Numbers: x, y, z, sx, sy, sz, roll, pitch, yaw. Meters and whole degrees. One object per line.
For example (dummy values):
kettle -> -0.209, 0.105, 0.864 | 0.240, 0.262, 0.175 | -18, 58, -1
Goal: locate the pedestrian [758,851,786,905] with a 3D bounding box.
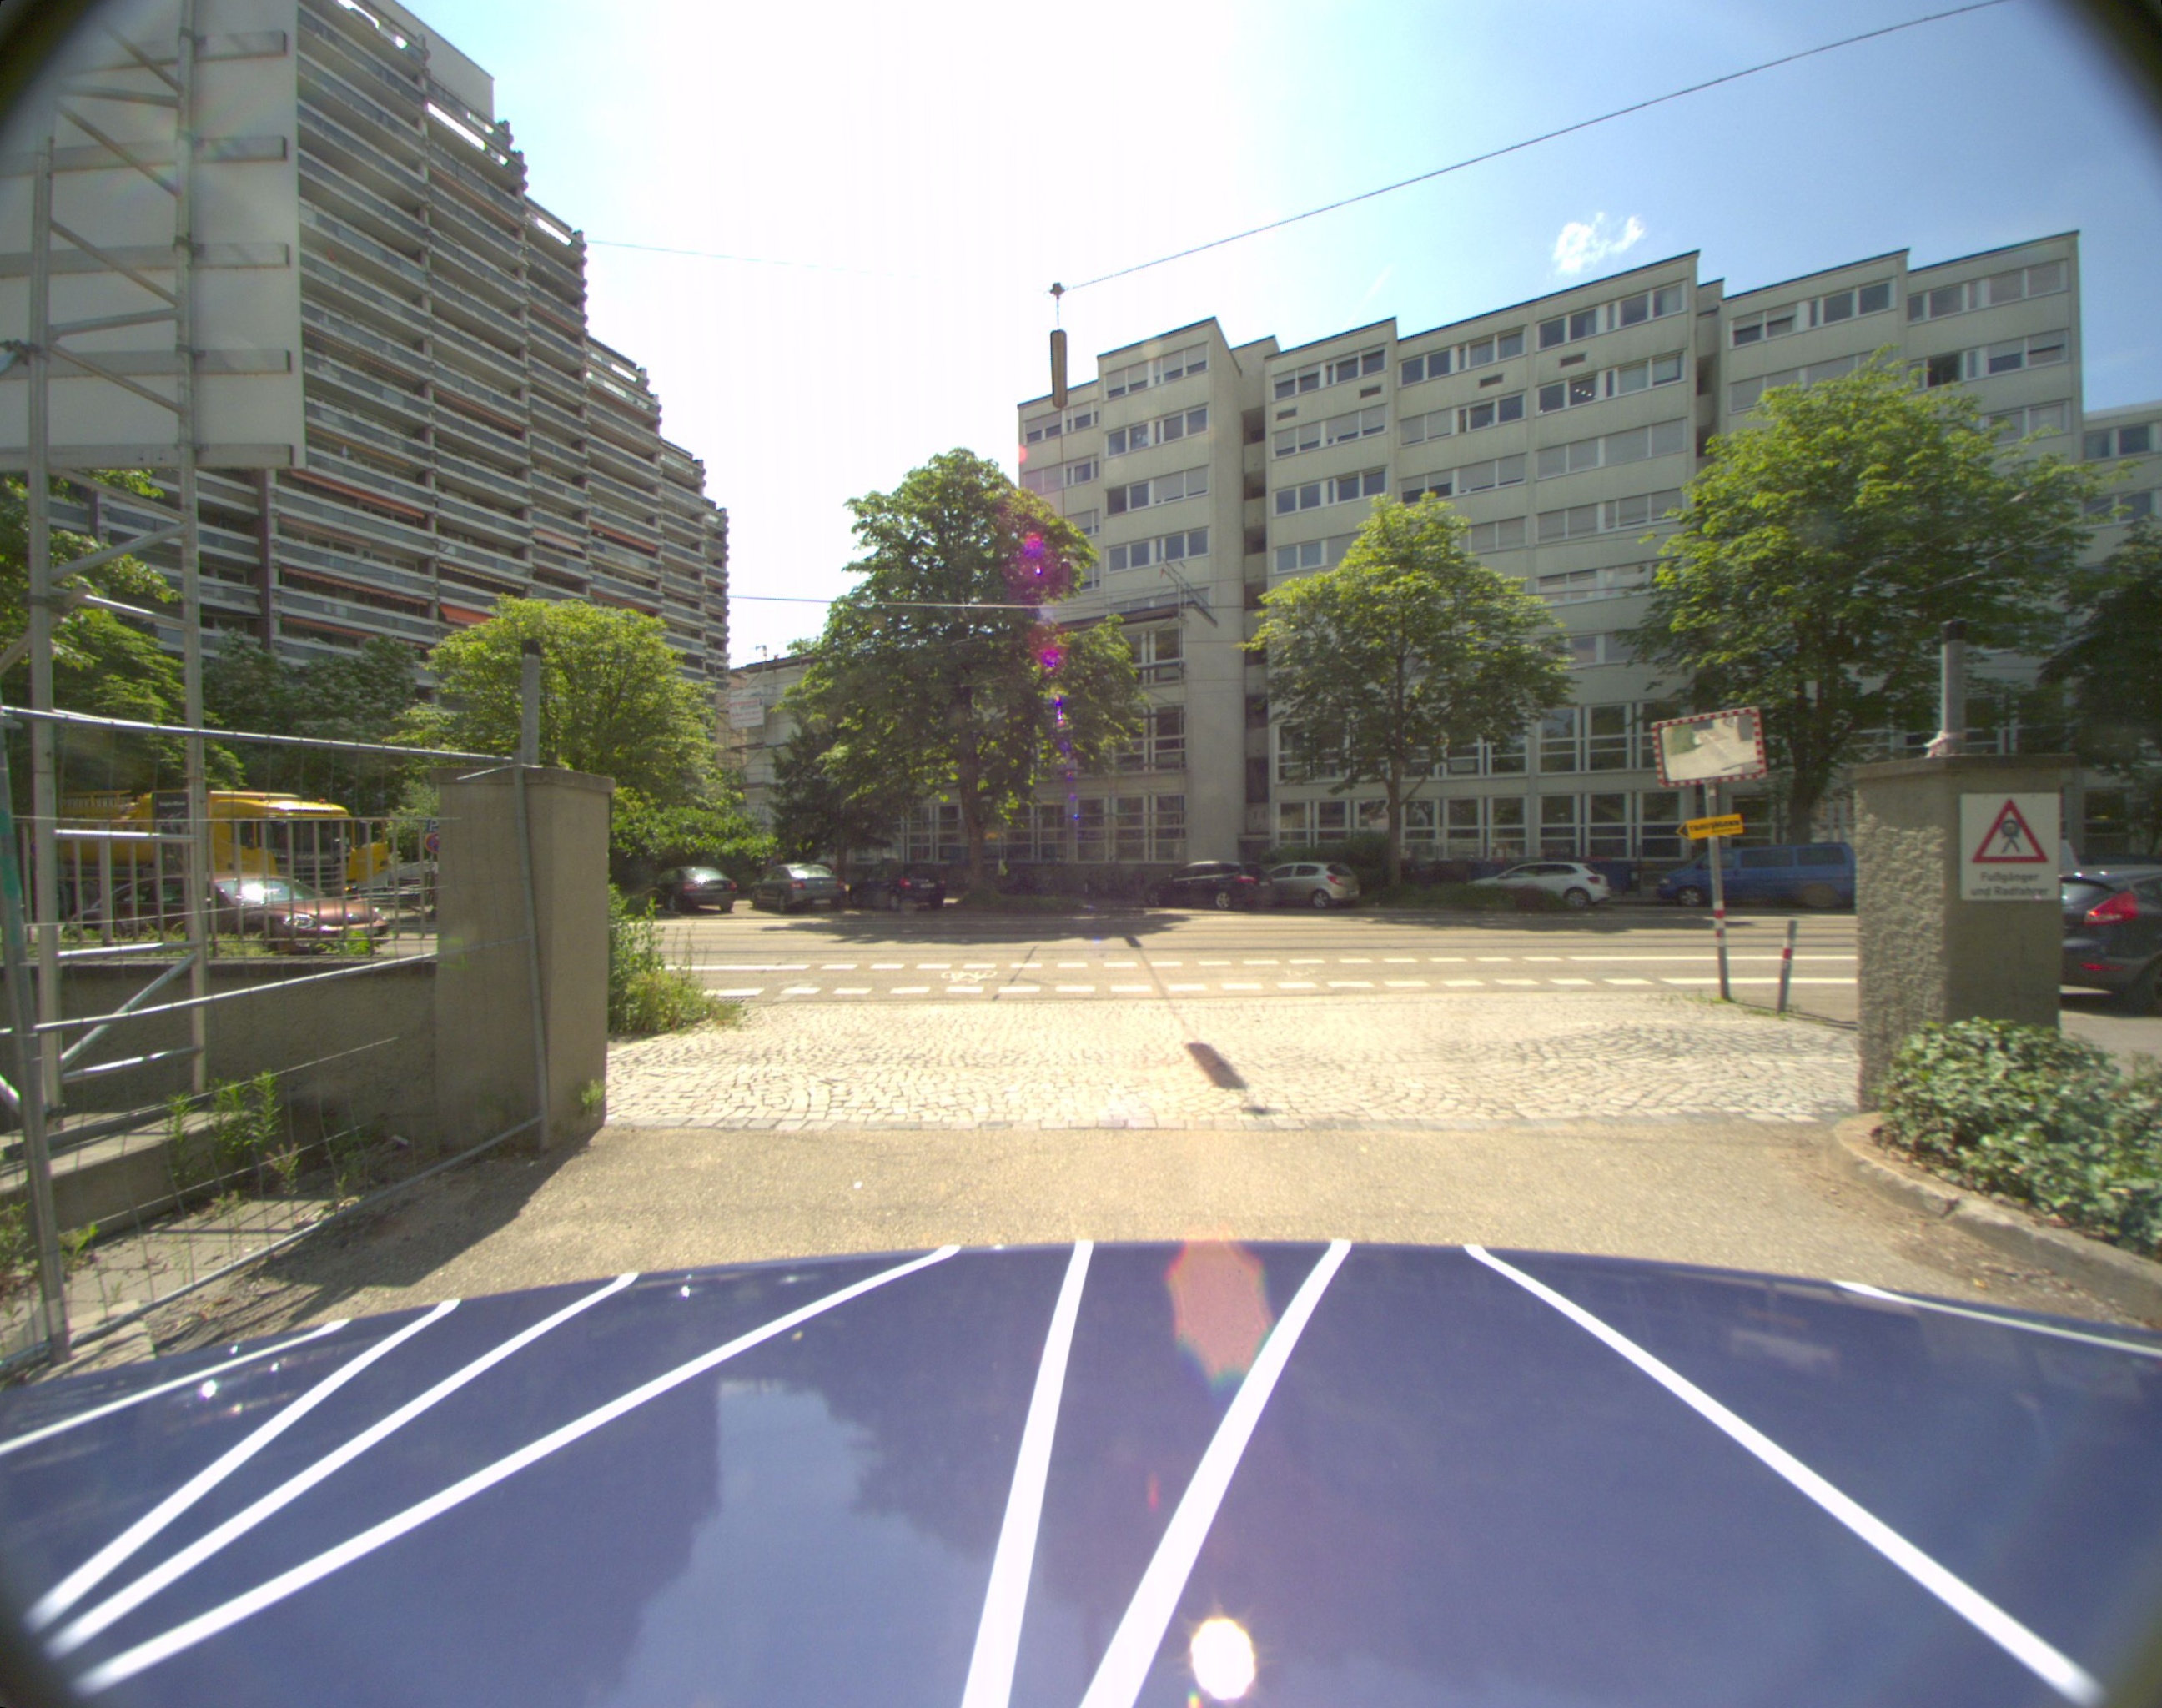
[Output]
pedestrian -> -10.848, 0.842, 26.648 | 0.576, 1.863, 0.716 | -1, 0, 15

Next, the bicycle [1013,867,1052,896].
bicycle -> -1.969, 1.114, 31.013 | 0.567, 1.124, 1.948 | -1, 0, 32

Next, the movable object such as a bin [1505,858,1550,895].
movable object such as a bin -> 17.162, 0.848, 29.247 | 1.180, 1.390, 1.038 | -1, -1, 9

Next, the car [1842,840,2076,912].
car -> 27.067, 0.641, 23.597 | 2.004, 2.002, 4.618 | 0, 0, -37

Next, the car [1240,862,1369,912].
car -> 7.094, 0.992, 24.294 | 3.530, 1.453, 1.758 | -1, 0, 44

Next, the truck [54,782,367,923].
truck -> -27.687, -0.001, 24.157 | 9.724, 3.983, 2.754 | -1, 1, 17

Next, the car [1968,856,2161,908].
car -> 30.593, 0.819, 23.454 | 1.674, 1.477, 3.990 | 0, 0, -33

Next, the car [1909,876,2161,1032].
car -> 11.389, 0.961, 7.981 | 3.724, 1.447, 1.589 | 0, -2, -3

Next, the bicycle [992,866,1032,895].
bicycle -> -2.843, 1.071, 31.473 | 0.567, 1.124, 1.948 | -1, 0, 32

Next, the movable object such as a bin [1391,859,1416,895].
movable object such as a bin -> 12.928, 0.916, 30.494 | 0.802, 1.397, 0.768 | -1, 0, 15

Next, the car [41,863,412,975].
car -> -14.035, 1.021, 12.687 | 3.996, 1.679, 2.000 | -1, 0, 2

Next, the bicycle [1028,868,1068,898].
bicycle -> -1.311, 1.143, 30.578 | 0.567, 1.124, 1.948 | 0, 0, 32

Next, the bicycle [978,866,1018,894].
bicycle -> -3.462, 1.064, 31.889 | 0.567, 1.124, 1.932 | -1, 0, 32

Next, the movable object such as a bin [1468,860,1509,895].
movable object such as a bin -> 15.628, 0.899, 29.158 | 1.076, 1.322, 0.971 | -1, 0, 2

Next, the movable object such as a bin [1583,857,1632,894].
movable object such as a bin -> 20.101, 0.809, 29.035 | 1.180, 1.390, 1.038 | -1, -1, 9

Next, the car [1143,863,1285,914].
car -> 4.169, 1.023, 24.213 | 4.185, 1.461, 1.758 | -1, 0, 44

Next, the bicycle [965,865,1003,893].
bicycle -> -4.115, 1.054, 32.298 | 0.567, 1.124, 1.931 | -1, 0, 29

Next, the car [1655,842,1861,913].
car -> 20.875, 0.682, 23.582 | 2.004, 2.002, 4.617 | 0, 0, -45

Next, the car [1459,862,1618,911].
car -> 14.257, 0.959, 23.827 | 3.970, 1.405, 1.719 | -1, 0, 44

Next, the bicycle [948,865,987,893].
bicycle -> -4.847, 1.046, 32.569 | 0.567, 1.124, 1.931 | -1, 0, 29

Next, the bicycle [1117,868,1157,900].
bicycle -> 2.208, 1.146, 29.529 | 0.567, 1.124, 2.239 | -1, 0, 32

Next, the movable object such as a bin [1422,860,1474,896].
movable object such as a bin -> 14.053, 0.918, 29.126 | 1.451, 1.322, 1.126 | -1, -1, 2

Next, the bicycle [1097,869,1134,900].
bicycle -> 1.368, 1.180, 29.738 | 0.567, 1.124, 1.948 | -1, 0, 32

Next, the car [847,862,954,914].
car -> -5.757, 1.016, 24.035 | 3.566, 1.508, 1.653 | -1, 0, 44

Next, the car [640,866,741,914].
car -> -12.385, 1.082, 23.987 | 4.011, 1.365, 1.633 | -1, 0, 44

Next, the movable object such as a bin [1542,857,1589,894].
movable object such as a bin -> 18.576, 0.829, 29.147 | 1.180, 1.390, 1.038 | -1, -1, 9

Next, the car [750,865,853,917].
car -> -8.853, 1.084, 23.884 | 1.823, 1.454, 4.012 | -1, 0, -39

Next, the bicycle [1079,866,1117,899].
bicycle -> 0.706, 1.108, 30.203 | 0.567, 1.230, 1.948 | -1, 0, 32
